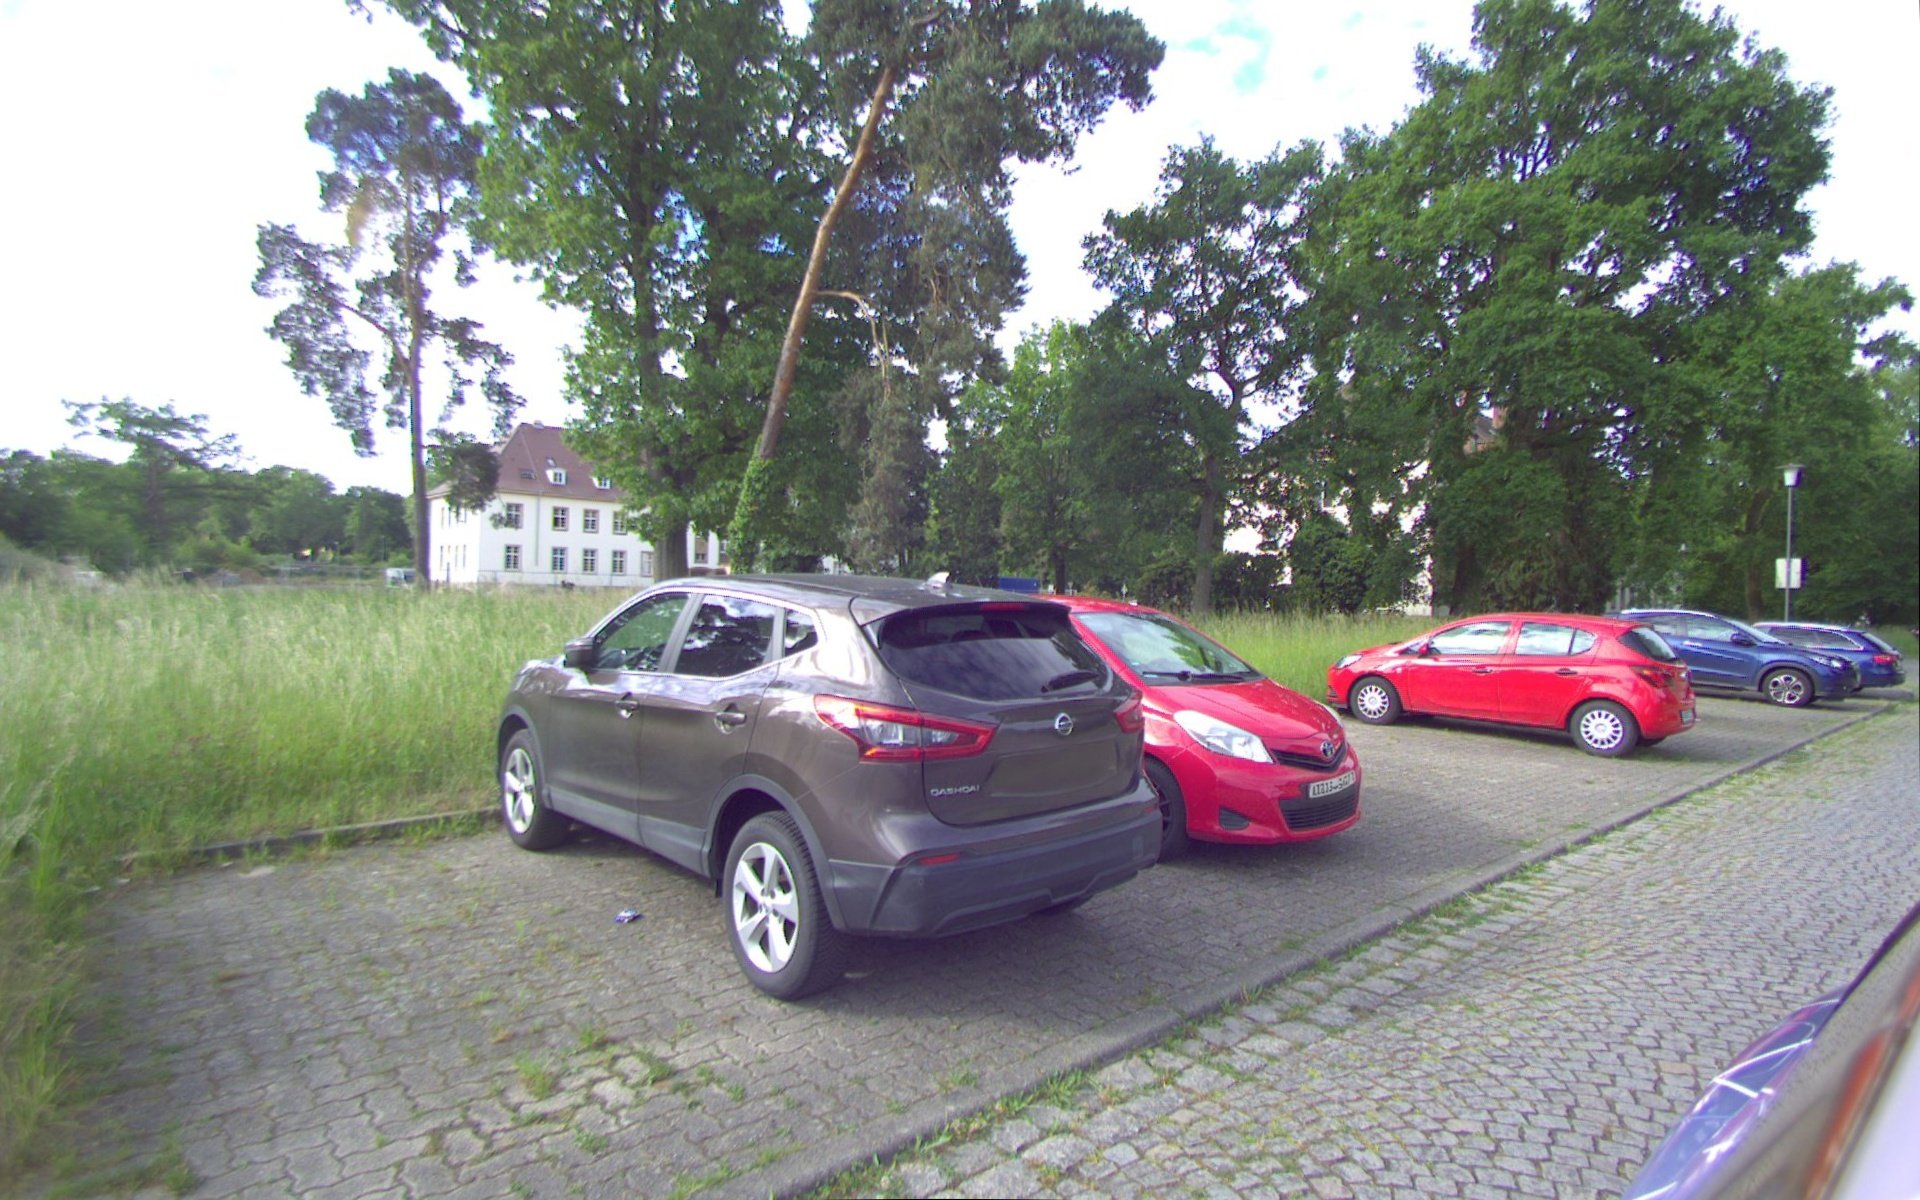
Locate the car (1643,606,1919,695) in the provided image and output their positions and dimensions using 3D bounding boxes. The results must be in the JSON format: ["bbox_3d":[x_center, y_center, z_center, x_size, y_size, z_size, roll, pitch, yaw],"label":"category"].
[{"bbox_3d":[17.740,1.017,21.911,1.860,1.483,4.518,2,2,-38],"label":"car"}]

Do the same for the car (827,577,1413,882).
[{"bbox_3d":[0.886,0.649,7.305,1.708,1.537,3.994,1,0,-41],"label":"car"}]

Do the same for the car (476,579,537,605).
[{"bbox_3d":[-37.617,-0.642,83.829,5.811,2.039,2.450,0,0,41],"label":"car"}]

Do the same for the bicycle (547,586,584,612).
[{"bbox_3d":[-23.249,-0.038,59.697,1.900,1.498,0.654,0,0,-41],"label":"bicycle"}]

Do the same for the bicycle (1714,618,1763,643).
[{"bbox_3d":[38.017,1.495,49.432,1.791,1.101,0.548,2,3,27],"label":"bicycle"}]

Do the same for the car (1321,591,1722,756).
[{"bbox_3d":[6.579,0.741,12.161,1.708,1.524,3.845,2,1,-42],"label":"car"}]

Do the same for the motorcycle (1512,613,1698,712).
[{"bbox_3d":[9.658,0.892,15.244,2.265,1.291,0.596,3,1,44],"label":"motorcycle"}]

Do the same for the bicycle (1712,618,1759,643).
[{"bbox_3d":[38.329,1.498,50.064,1.734,1.101,0.548,2,3,27],"label":"bicycle"}]

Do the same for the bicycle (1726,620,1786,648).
[{"bbox_3d":[35.029,1.489,44.573,1.999,1.101,0.474,2,2,27],"label":"bicycle"}]

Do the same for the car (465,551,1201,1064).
[{"bbox_3d":[-0.953,0.618,5.203,1.732,1.600,3.954,1,0,-44],"label":"car"}]

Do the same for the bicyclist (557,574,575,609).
[{"bbox_3d":[-23.229,-0.481,59.703,0.833,2.039,0.658,1,-1,-41],"label":"bicyclist"}]

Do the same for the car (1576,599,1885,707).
[{"bbox_3d":[14.194,0.884,18.834,1.862,1.593,4.271,2,1,-41],"label":"car"}]
